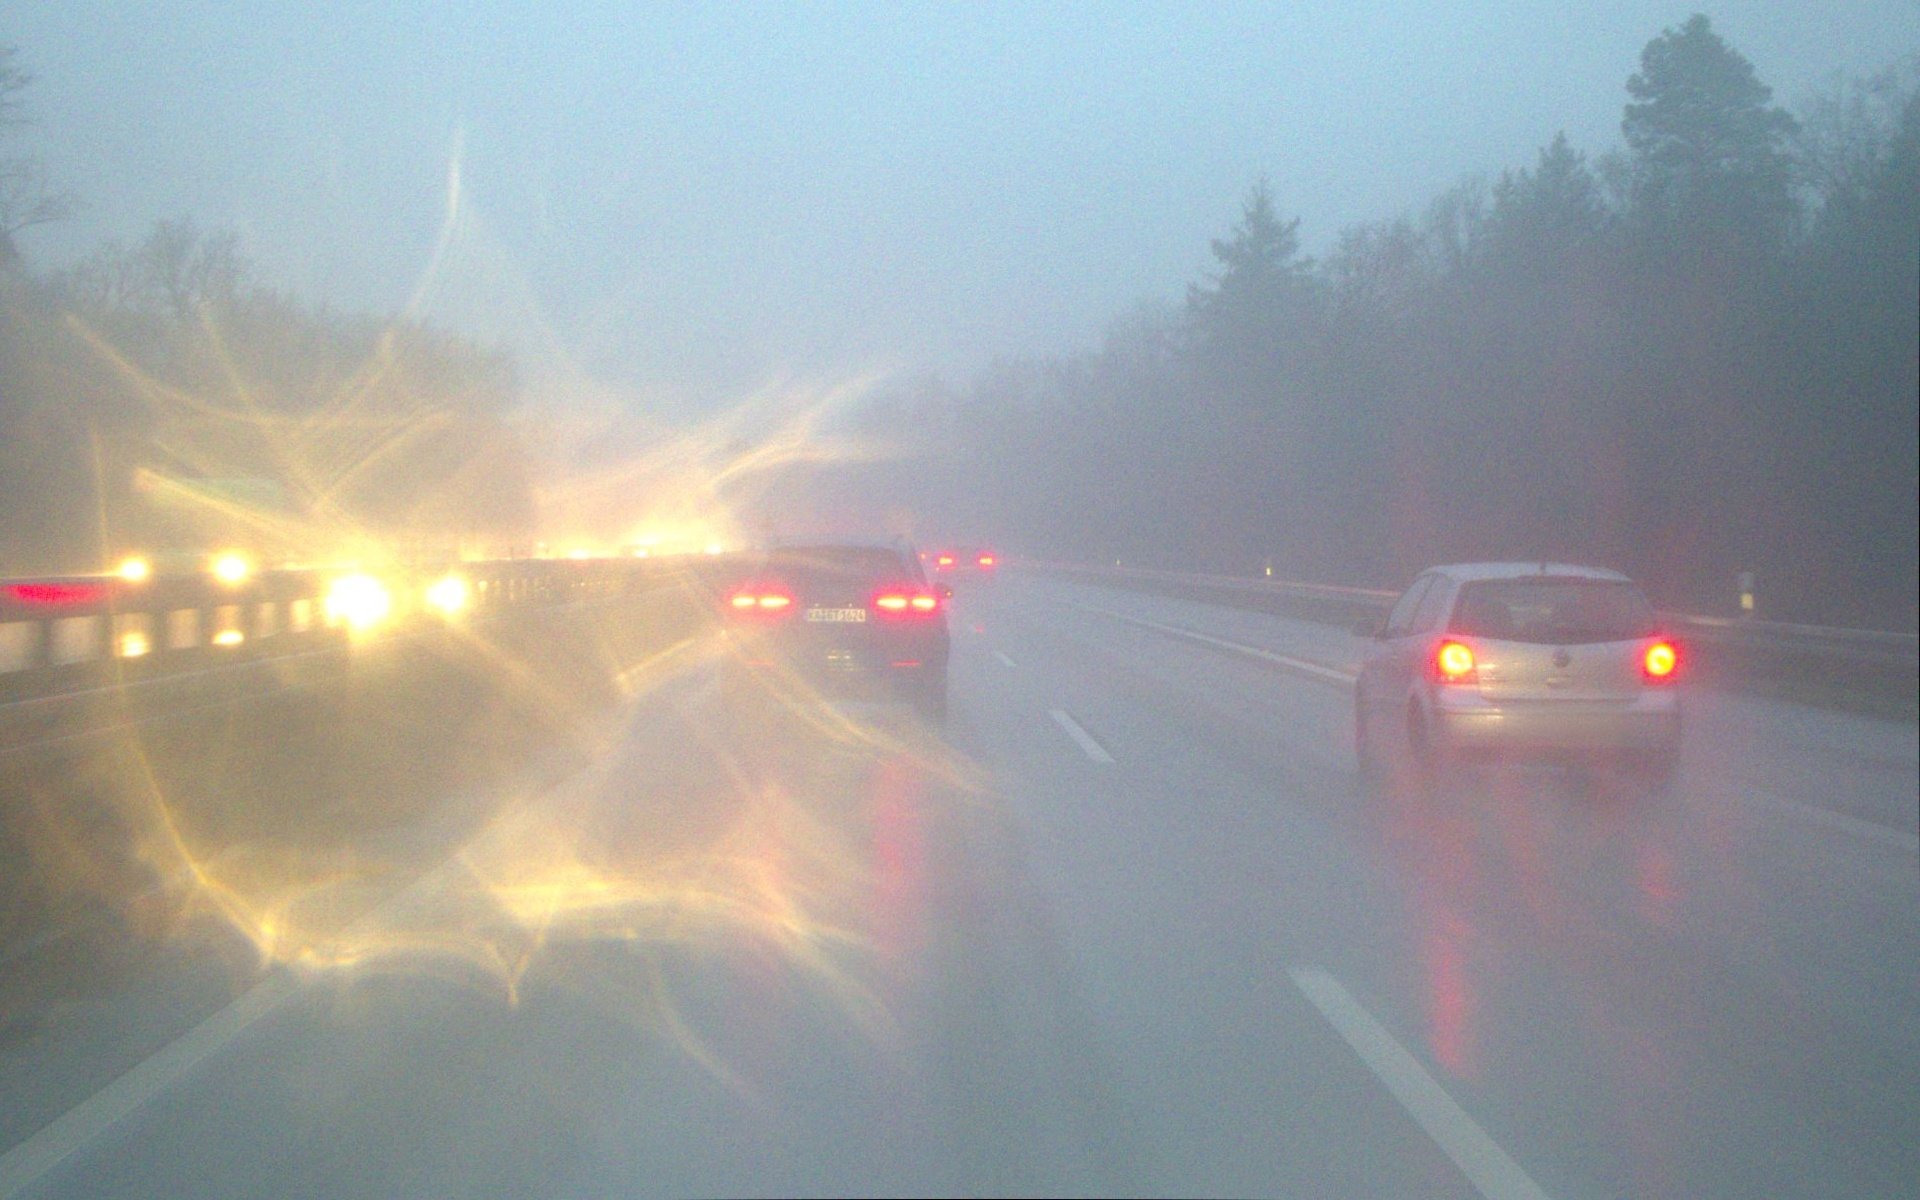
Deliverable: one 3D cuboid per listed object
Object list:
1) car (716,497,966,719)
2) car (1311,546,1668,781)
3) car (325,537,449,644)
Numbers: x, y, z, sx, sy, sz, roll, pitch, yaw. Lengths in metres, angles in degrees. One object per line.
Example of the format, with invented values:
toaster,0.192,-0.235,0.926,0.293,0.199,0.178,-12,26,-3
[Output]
car,-1.048,0.028,29.696,1.986,1.761,4.174,1,1,-3
car,3.459,0.369,23.049,1.780,1.432,3.537,1,1,-1
car,-9.190,-0.184,55.359,1.467,1.650,3.639,0,1,-1
